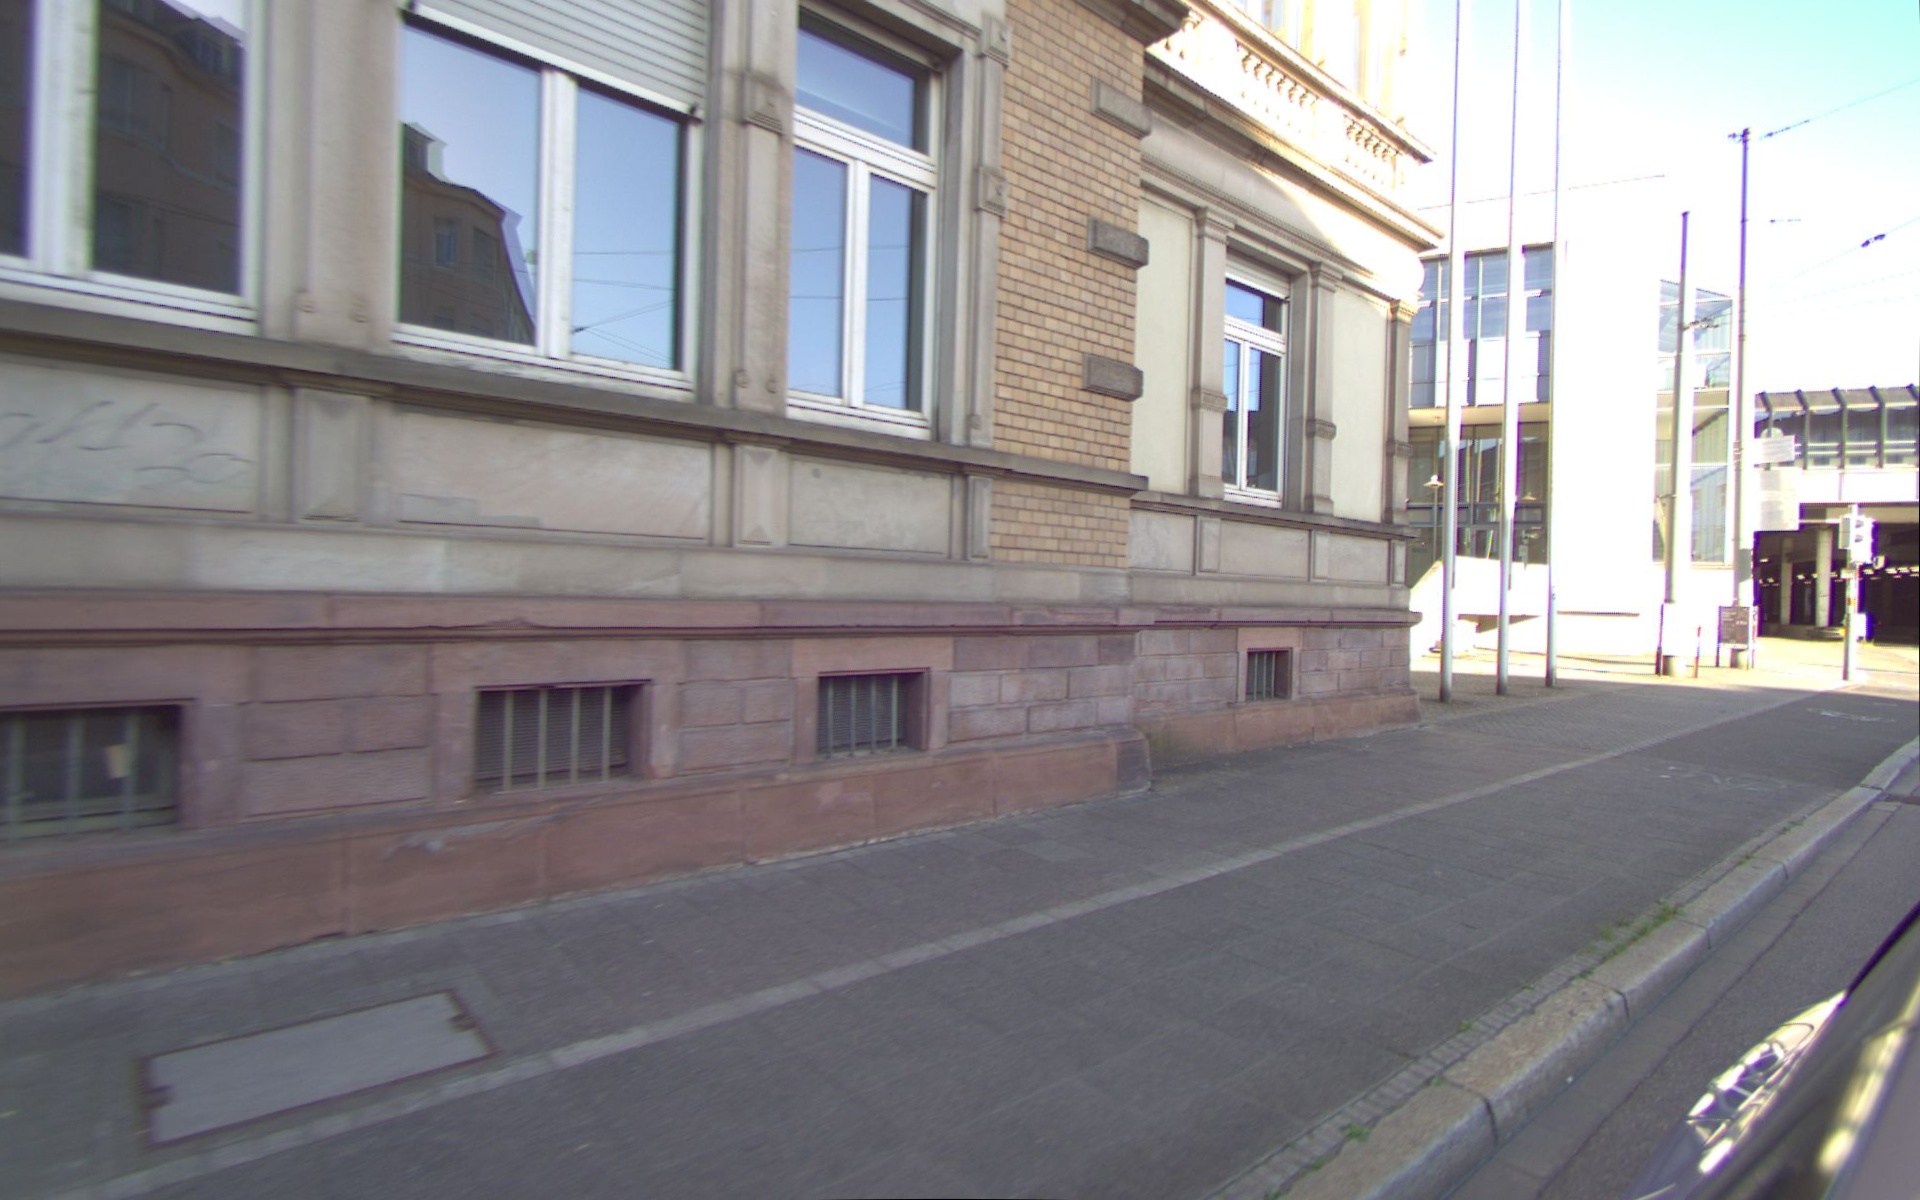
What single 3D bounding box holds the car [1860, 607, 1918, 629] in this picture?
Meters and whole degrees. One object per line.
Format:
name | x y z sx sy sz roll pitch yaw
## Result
car | 63.173 1.222 68.886 1.799 1.408 4.206 1 0 27
